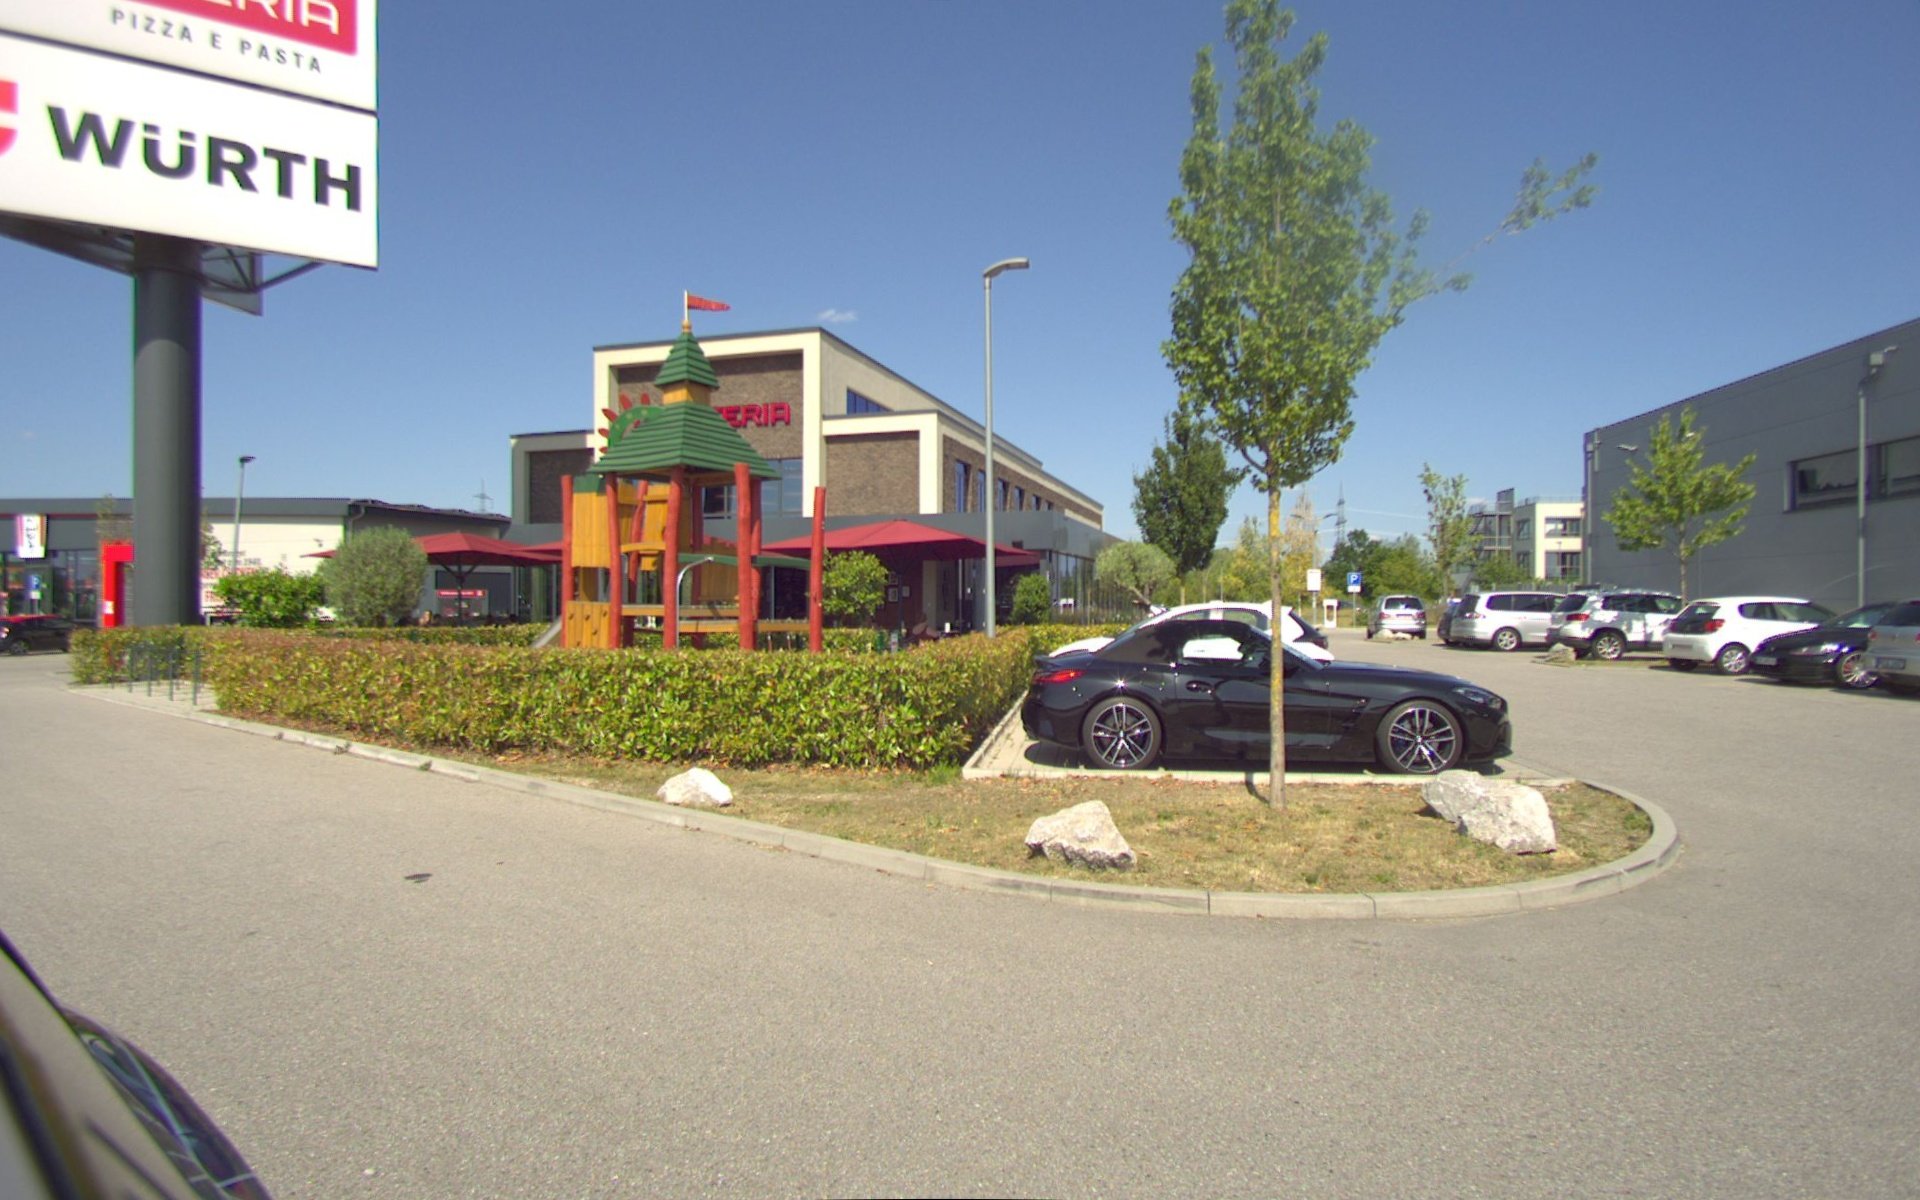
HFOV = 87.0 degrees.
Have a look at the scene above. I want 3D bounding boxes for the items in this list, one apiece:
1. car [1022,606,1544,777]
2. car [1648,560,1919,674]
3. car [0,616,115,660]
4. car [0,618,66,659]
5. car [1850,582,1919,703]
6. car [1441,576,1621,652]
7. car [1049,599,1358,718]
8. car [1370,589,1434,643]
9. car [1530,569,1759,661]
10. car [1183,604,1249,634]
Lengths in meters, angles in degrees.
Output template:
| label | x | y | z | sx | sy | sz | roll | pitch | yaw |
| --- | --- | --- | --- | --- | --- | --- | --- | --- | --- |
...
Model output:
| label | x | y | z | sx | sy | sz | roll | pitch | yaw |
| --- | --- | --- | --- | --- | --- | --- | --- | --- | --- |
| car | 2.660 | 0.752 | 9.152 | 4.104 | 1.348 | 1.827 | -1 | -1 | 7 |
| car | 15.889 | 0.317 | 19.399 | 3.950 | 2.029 | 1.997 | -1 | 0 | 6 |
| car | -35.145 | 1.417 | 38.655 | 1.863 | 1.577 | 4.072 | -1 | -1 | 18 |
| car | -37.747 | 1.494 | 39.397 | 1.863 | 1.577 | 4.072 | -1 | -1 | 18 |
| car | 14.979 | 0.554 | 13.730 | 3.955 | 1.629 | 1.776 | -1 | -1 | 10 |
| car | 16.125 | 0.397 | 28.788 | 3.957 | 2.029 | 1.993 | -1 | 0 | 11 |
| car | 3.257 | 0.769 | 13.968 | 3.873 | 1.486 | 1.796 | -1 | -1 | 12 |
| car | 16.996 | 0.579 | 39.066 | 1.780 | 1.953 | 3.977 | -1 | 0 | 17 |
| car | 16.032 | 0.350 | 23.926 | 3.955 | 2.029 | 1.994 | -1 | 0 | 9 |
| car | 15.977 | 1.189 | 63.339 | 3.961 | 1.799 | 1.764 | -1 | 0 | 14 |
